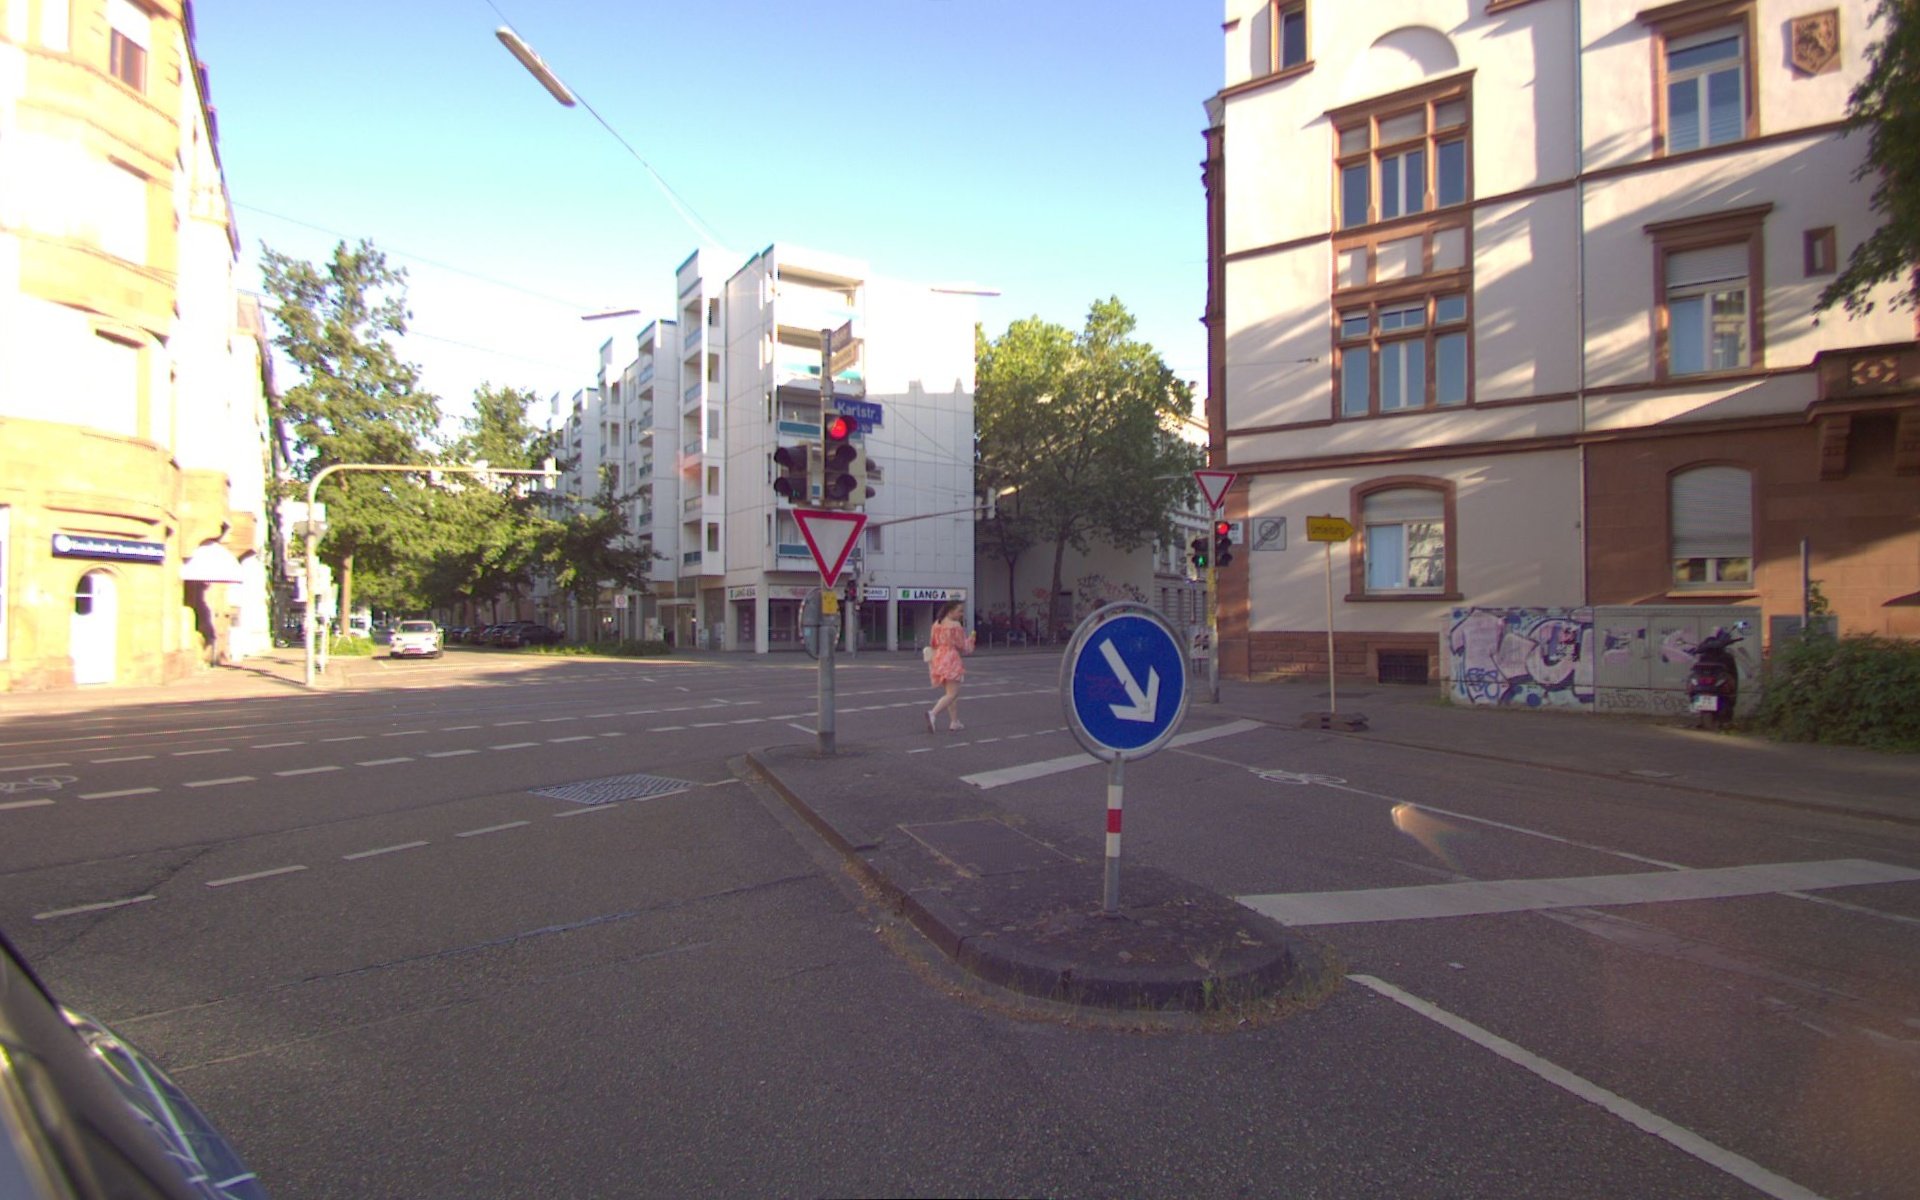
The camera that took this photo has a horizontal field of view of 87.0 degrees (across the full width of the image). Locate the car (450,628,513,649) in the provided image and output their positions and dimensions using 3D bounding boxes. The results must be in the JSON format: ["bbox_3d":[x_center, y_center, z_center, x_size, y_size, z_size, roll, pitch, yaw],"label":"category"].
[{"bbox_3d":[-38.378,3.081,81.235,4.235,1.597,2.004,1,-2,-39],"label":"car"}]

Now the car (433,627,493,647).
[{"bbox_3d":[-41.757,3.078,85.068,4.235,1.597,2.004,1,-2,-39],"label":"car"}]

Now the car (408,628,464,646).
[{"bbox_3d":[-48.124,3.356,92.905,4.235,1.597,2.004,1,-2,-39],"label":"car"}]

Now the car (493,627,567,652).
[{"bbox_3d":[-27.675,2.509,65.196,3.937,1.597,2.003,1,-2,-40],"label":"car"}]

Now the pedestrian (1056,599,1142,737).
[{"bbox_3d":[1.826,0.866,13.249,0.864,1.710,0.976,-1,-2,25],"label":"pedestrian"}]

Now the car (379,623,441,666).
[{"bbox_3d":[-24.038,1.906,44.200,1.967,1.763,4.010,1,-2,-34],"label":"car"}]

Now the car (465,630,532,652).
[{"bbox_3d":[-34.955,3.083,76.659,4.235,1.597,2.004,1,-2,-39],"label":"car"}]

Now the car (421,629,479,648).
[{"bbox_3d":[-44.293,3.320,87.921,4.235,1.597,2.004,1,-2,-39],"label":"car"}]

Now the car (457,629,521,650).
[{"bbox_3d":[-36.902,3.083,79.318,4.235,1.597,2.004,1,-2,-39],"label":"car"}]

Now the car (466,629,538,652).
[{"bbox_3d":[-32.193,2.834,71.123,4.237,1.597,2.003,1,-2,-40],"label":"car"}]

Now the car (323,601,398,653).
[{"bbox_3d":[-39.351,1.769,66.324,3.272,3.203,8.100,1,-2,-37],"label":"car"}]

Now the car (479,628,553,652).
[{"bbox_3d":[-30.452,2.735,69.409,4.237,1.597,2.003,1,-2,-40],"label":"car"}]

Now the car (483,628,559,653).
[{"bbox_3d":[-29.093,2.665,67.195,4.237,1.597,2.003,1,-2,-40],"label":"car"}]

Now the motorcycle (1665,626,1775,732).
[{"bbox_3d":[9.892,0.972,13.147,0.843,1.275,2.079,-2,-2,45],"label":"motorcycle"}]

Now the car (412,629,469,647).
[{"bbox_3d":[-46.484,3.356,90.535,4.235,1.597,2.004,1,-2,-39],"label":"car"}]

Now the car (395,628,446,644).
[{"bbox_3d":[-54.939,3.654,103.079,4.235,1.597,2.004,1,-2,-39],"label":"car"}]

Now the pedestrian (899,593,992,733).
[{"bbox_3d":[-0.173,0.784,13.005,0.864,1.710,0.976,-1,-2,25],"label":"pedestrian"}]
